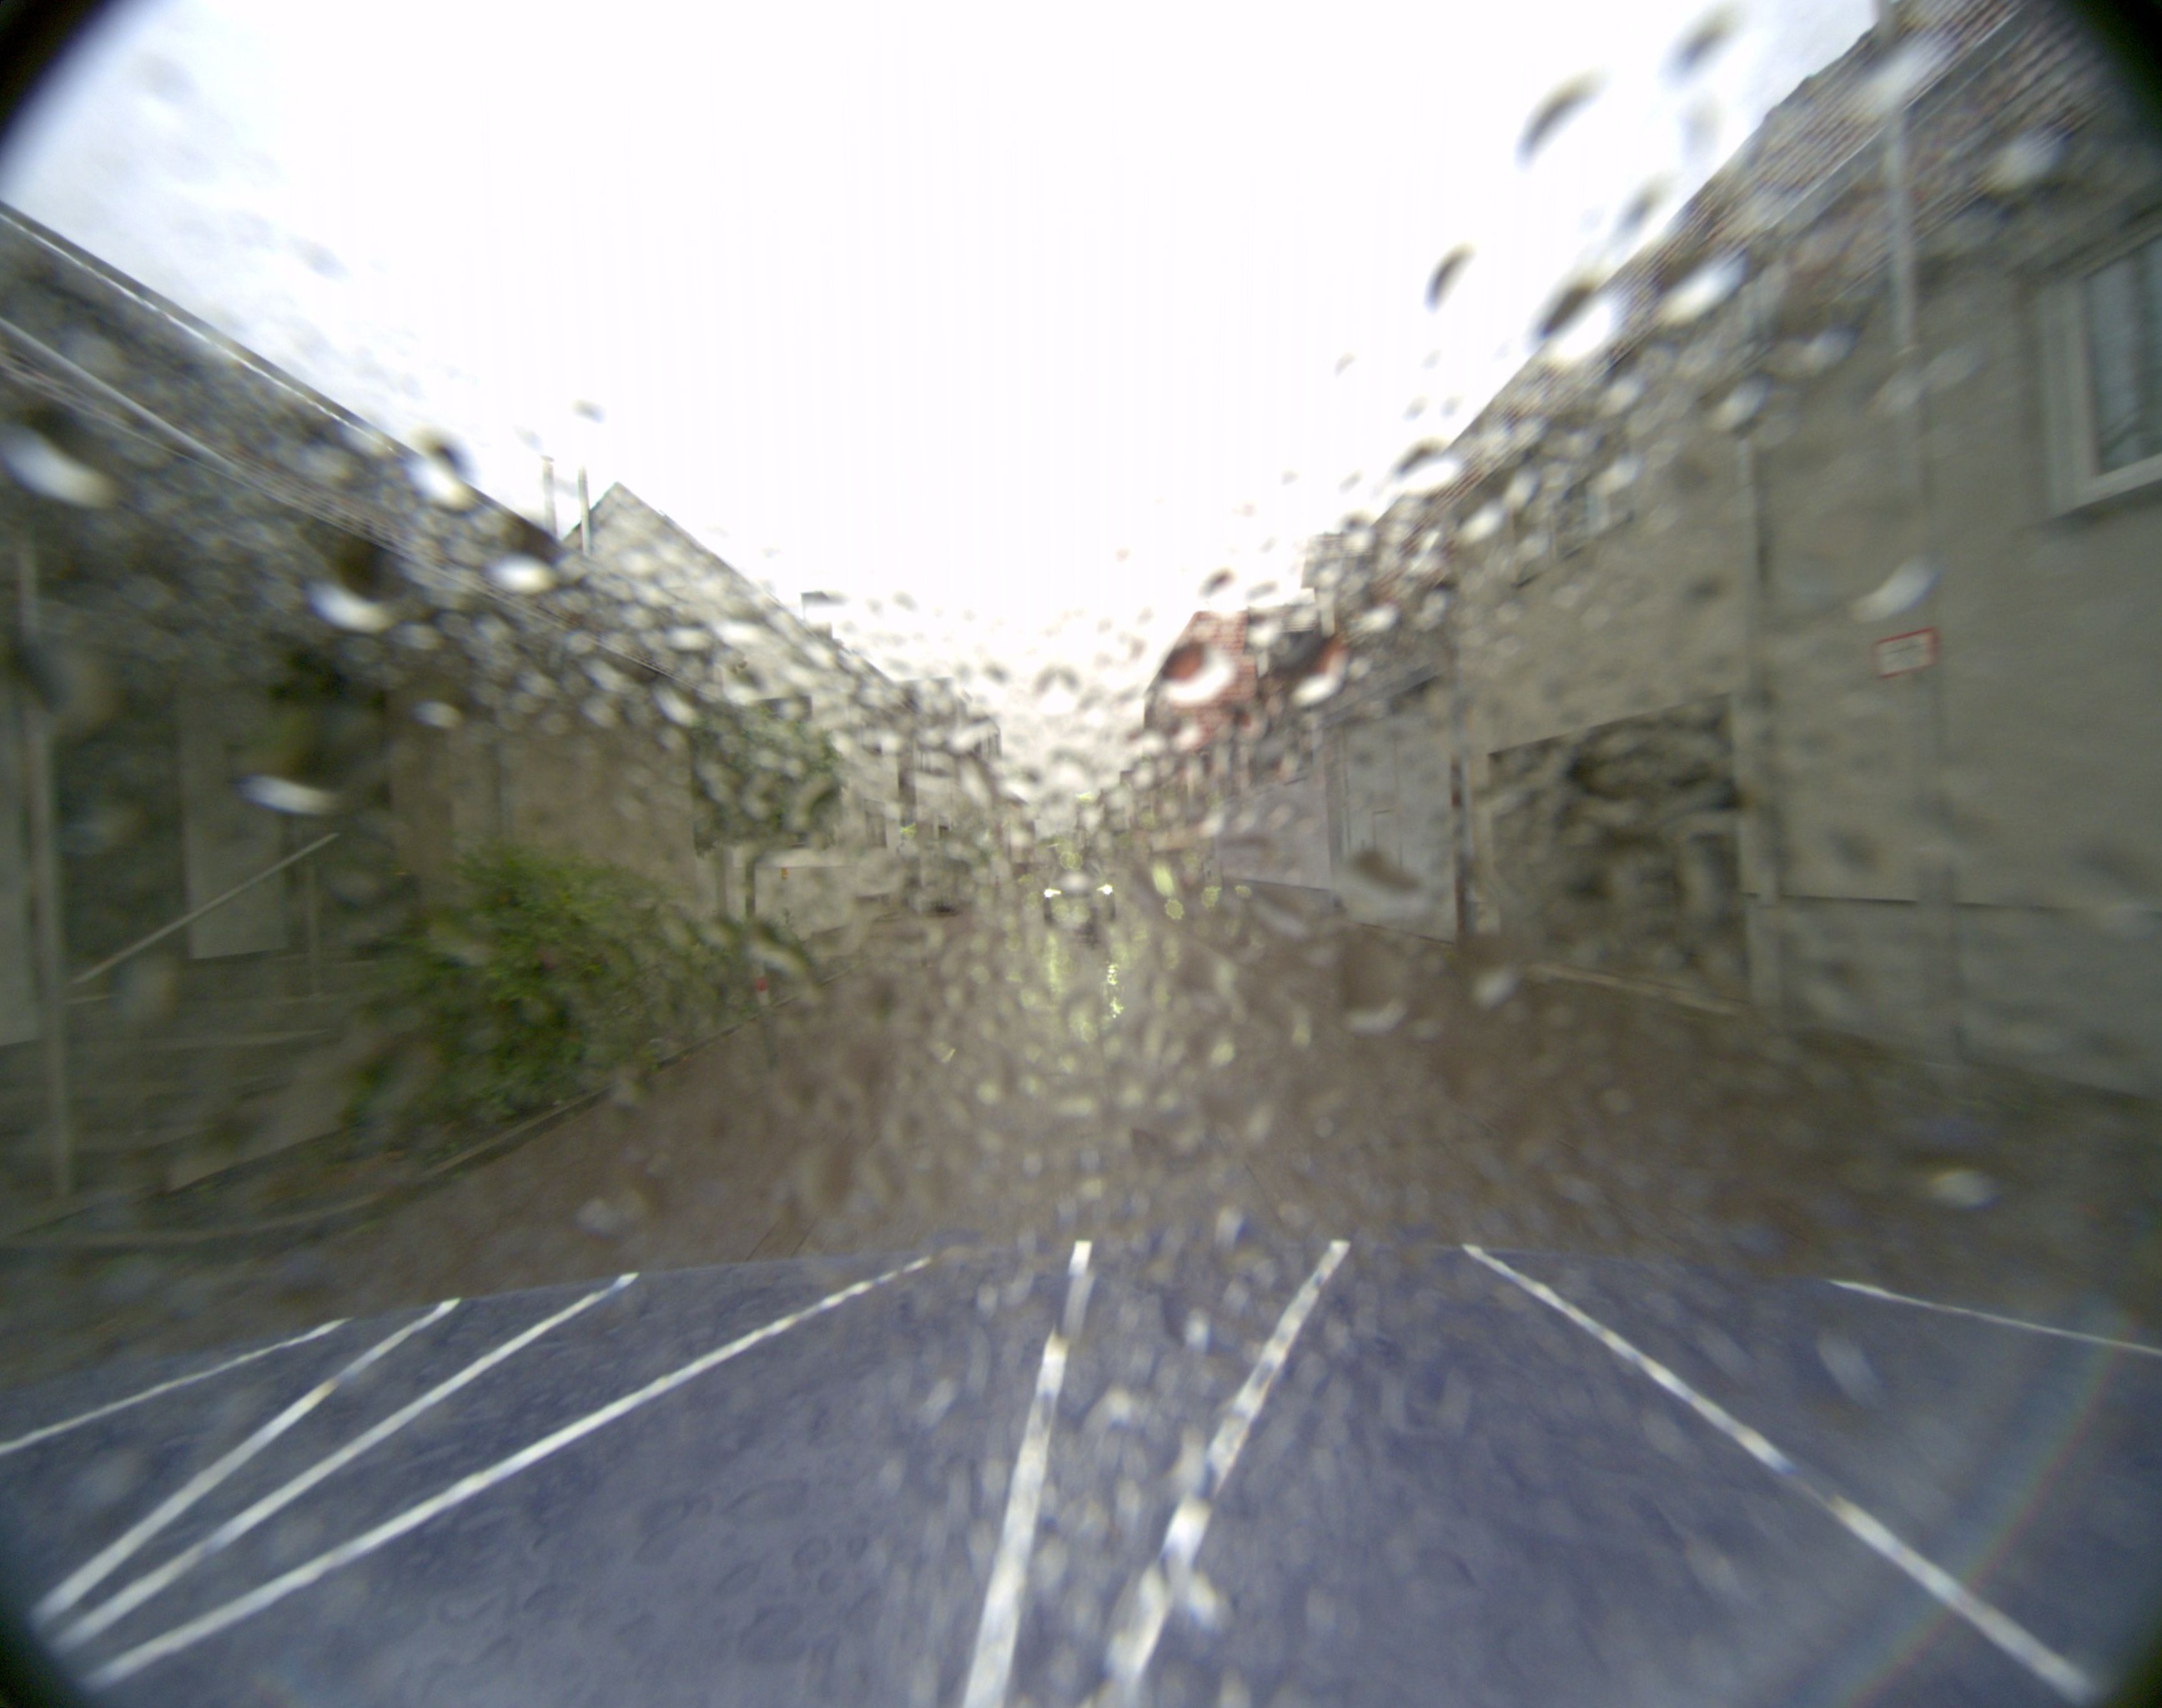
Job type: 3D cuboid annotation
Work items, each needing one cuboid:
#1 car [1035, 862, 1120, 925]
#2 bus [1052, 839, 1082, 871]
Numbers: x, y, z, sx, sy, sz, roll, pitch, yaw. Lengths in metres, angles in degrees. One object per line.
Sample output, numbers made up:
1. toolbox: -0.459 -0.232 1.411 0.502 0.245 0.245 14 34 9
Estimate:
1. car: 0.010 0.968 20.065 1.800 1.342 3.739 -3 0 6
2. bus: -1.832 0.069 93.365 2.893 3.589 11.975 -3 0 -4
